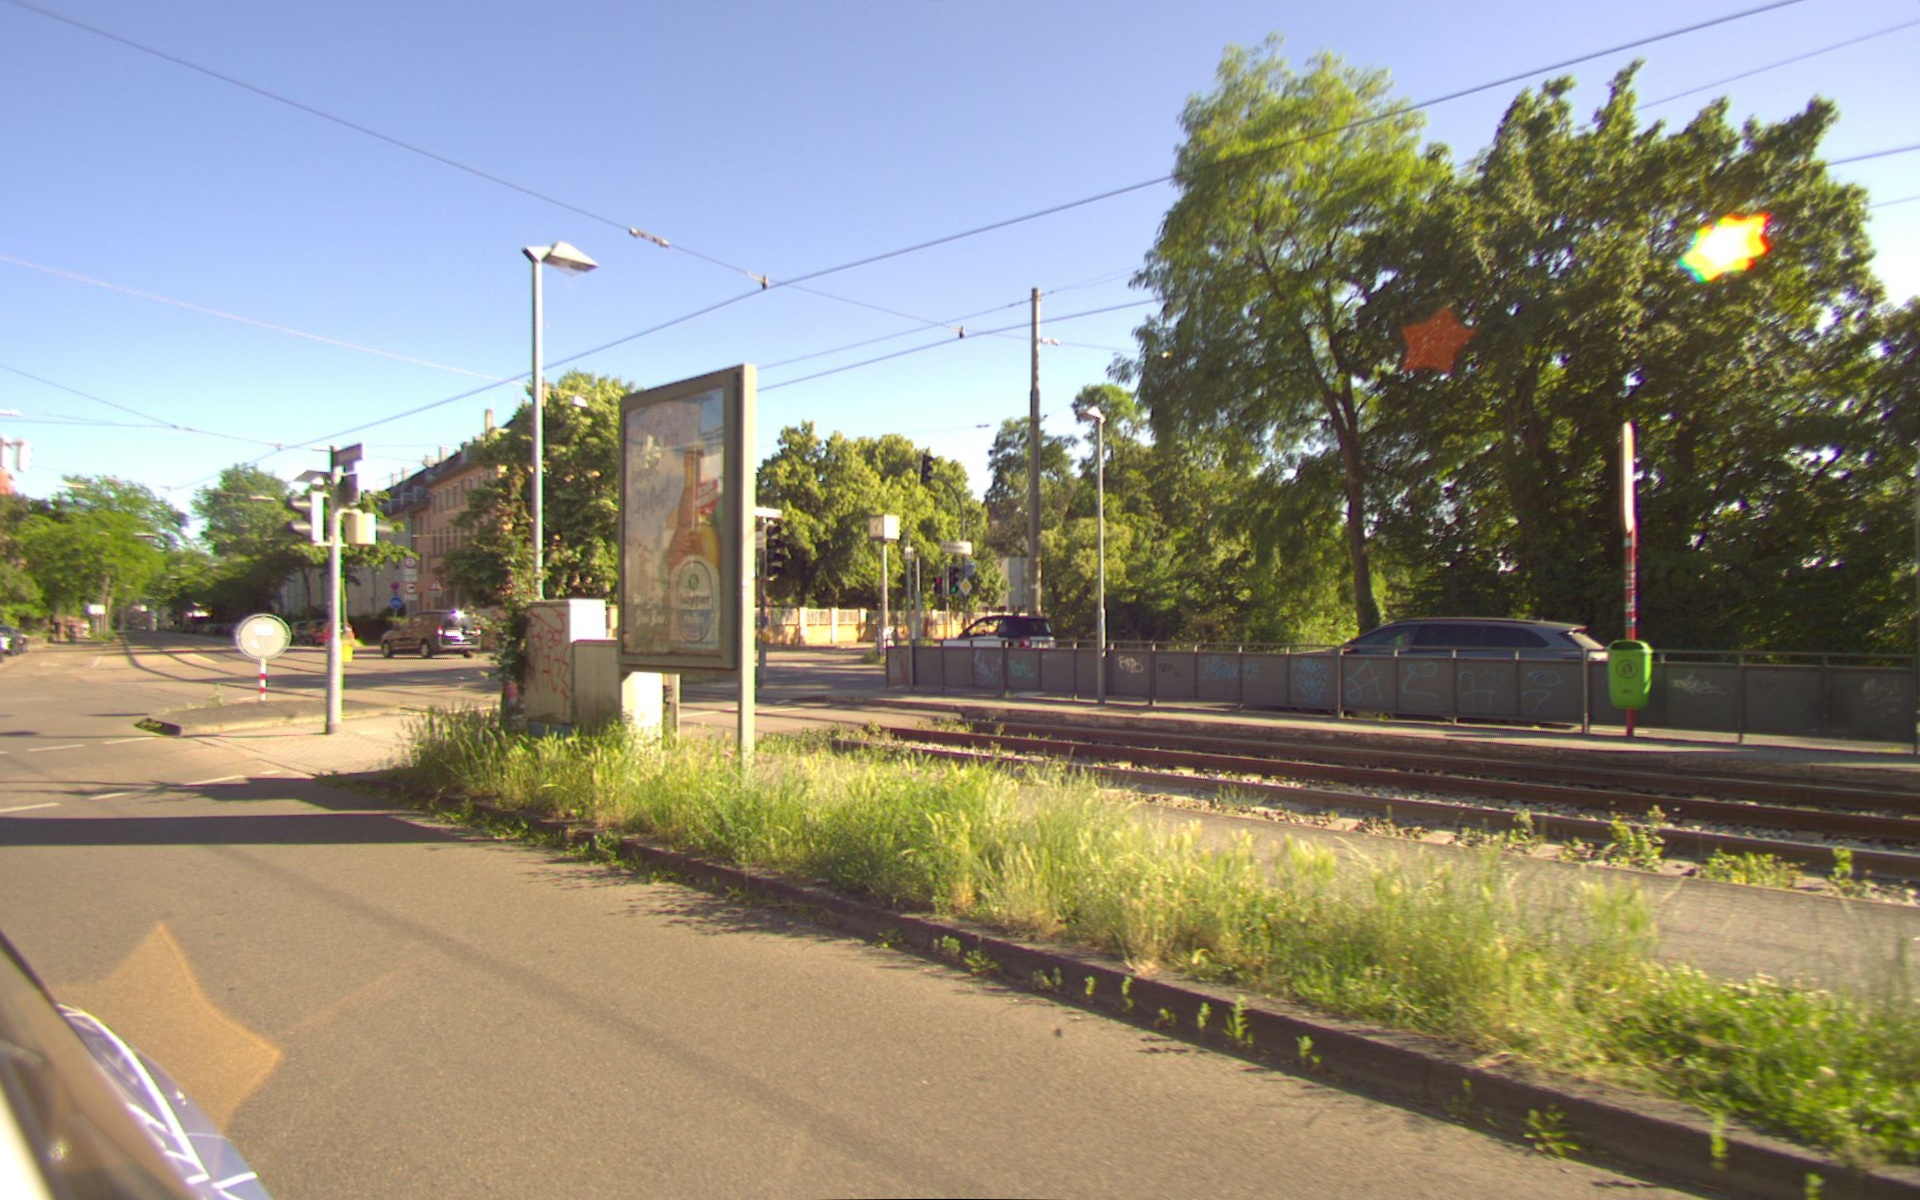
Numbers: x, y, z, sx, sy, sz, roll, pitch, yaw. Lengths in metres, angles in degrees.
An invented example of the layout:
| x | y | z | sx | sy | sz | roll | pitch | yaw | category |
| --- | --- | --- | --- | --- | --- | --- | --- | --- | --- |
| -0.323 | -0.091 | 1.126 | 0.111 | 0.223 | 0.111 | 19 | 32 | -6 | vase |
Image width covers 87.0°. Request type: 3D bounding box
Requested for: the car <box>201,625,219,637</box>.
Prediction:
| x | y | z | sx | sy | sz | roll | pitch | yaw | category |
| --- | --- | --- | --- | --- | --- | --- | --- | --- | --- |
| -110.335 | 4.577 | 148.960 | 1.789 | 1.792 | 3.635 | 1 | -2 | -42 | car |

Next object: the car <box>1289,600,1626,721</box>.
| x | y | z | sx | sy | sz | roll | pitch | yaw | category |
| --- | --- | --- | --- | --- | --- | --- | --- | --- | --- |
| 6.960 | 0.781 | 14.360 | 3.996 | 1.478 | 1.787 | -1 | -2 | 40 | car |

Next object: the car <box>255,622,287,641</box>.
| x | y | z | sx | sy | sz | roll | pitch | yaw | category |
| --- | --- | --- | --- | --- | --- | --- | --- | --- | --- |
| -59.346 | 2.730 | 87.169 | 1.789 | 1.611 | 3.635 | 1 | -2 | -42 | car |

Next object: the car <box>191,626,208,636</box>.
| x | y | z | sx | sy | sz | roll | pitch | yaw | category |
| --- | --- | --- | --- | --- | --- | --- | --- | --- | --- |
| -118.133 | 4.779 | 157.274 | 1.789 | 1.535 | 3.635 | 1 | -2 | -42 | car |

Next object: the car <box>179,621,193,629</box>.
| x | y | z | sx | sy | sz | roll | pitch | yaw | category |
| --- | --- | --- | --- | --- | --- | --- | --- | --- | --- |
| -146.553 | 4.744 | 191.592 | 1.789 | 1.430 | 3.635 | 1 | -2 | -42 | car |

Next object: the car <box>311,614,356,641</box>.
| x | y | z | sx | sy | sz | roll | pitch | yaw | category |
| --- | --- | --- | --- | --- | --- | --- | --- | --- | --- |
| -40.038 | 1.740 | 64.659 | 1.790 | 1.719 | 3.378 | 1 | -2 | -44 | car |

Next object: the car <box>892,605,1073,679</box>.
| x | y | z | sx | sy | sz | roll | pitch | yaw | category |
| --- | --- | --- | --- | --- | --- | --- | --- | --- | --- |
| 0.468 | 0.950 | 23.732 | 3.999 | 1.579 | 1.900 | -1 | -2 | 42 | car |

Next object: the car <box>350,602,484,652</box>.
| x | y | z | sx | sy | sz | roll | pitch | yaw | category |
| --- | --- | --- | --- | --- | --- | --- | --- | --- | --- |
| -20.694 | 0.991 | 38.535 | 5.006 | 1.780 | 1.982 | 1 | -1 | 27 | car |

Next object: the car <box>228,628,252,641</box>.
| x | y | z | sx | sy | sz | roll | pitch | yaw | category |
| --- | --- | --- | --- | --- | --- | --- | --- | --- | --- |
| -78.727 | 3.753 | 110.665 | 1.789 | 1.430 | 3.635 | 1 | -2 | -42 | car |

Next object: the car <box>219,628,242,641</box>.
| x | y | z | sx | sy | sz | roll | pitch | yaw | category |
| --- | --- | --- | --- | --- | --- | --- | --- | --- | --- |
| -84.630 | 3.973 | 117.377 | 1.789 | 1.430 | 3.635 | 1 | -2 | -42 | car |

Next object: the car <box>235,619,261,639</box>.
| x | y | z | sx | sy | sz | roll | pitch | yaw | category |
| --- | --- | --- | --- | --- | --- | --- | --- | --- | --- |
| -72.782 | 2.956 | 103.438 | 1.789 | 1.955 | 3.635 | 1 | -2 | -42 | car |

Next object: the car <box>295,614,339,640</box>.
| x | y | z | sx | sy | sz | roll | pitch | yaw | category |
| --- | --- | --- | --- | --- | --- | --- | --- | --- | --- |
| -43.302 | 1.834 | 68.103 | 1.790 | 1.671 | 3.823 | 1 | -2 | -44 | car |

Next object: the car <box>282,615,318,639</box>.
| x | y | z | sx | sy | sz | roll | pitch | yaw | category |
| --- | --- | --- | --- | --- | --- | --- | --- | --- | --- |
| -48.872 | 1.998 | 74.858 | 1.788 | 1.671 | 3.883 | 1 | -2 | -40 | car |

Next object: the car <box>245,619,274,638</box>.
| x | y | z | sx | sy | sz | roll | pitch | yaw | category |
| --- | --- | --- | --- | --- | --- | --- | --- | --- | --- |
| -66.866 | 2.717 | 96.539 | 1.789 | 1.839 | 3.800 | 1 | -2 | -42 | car |
